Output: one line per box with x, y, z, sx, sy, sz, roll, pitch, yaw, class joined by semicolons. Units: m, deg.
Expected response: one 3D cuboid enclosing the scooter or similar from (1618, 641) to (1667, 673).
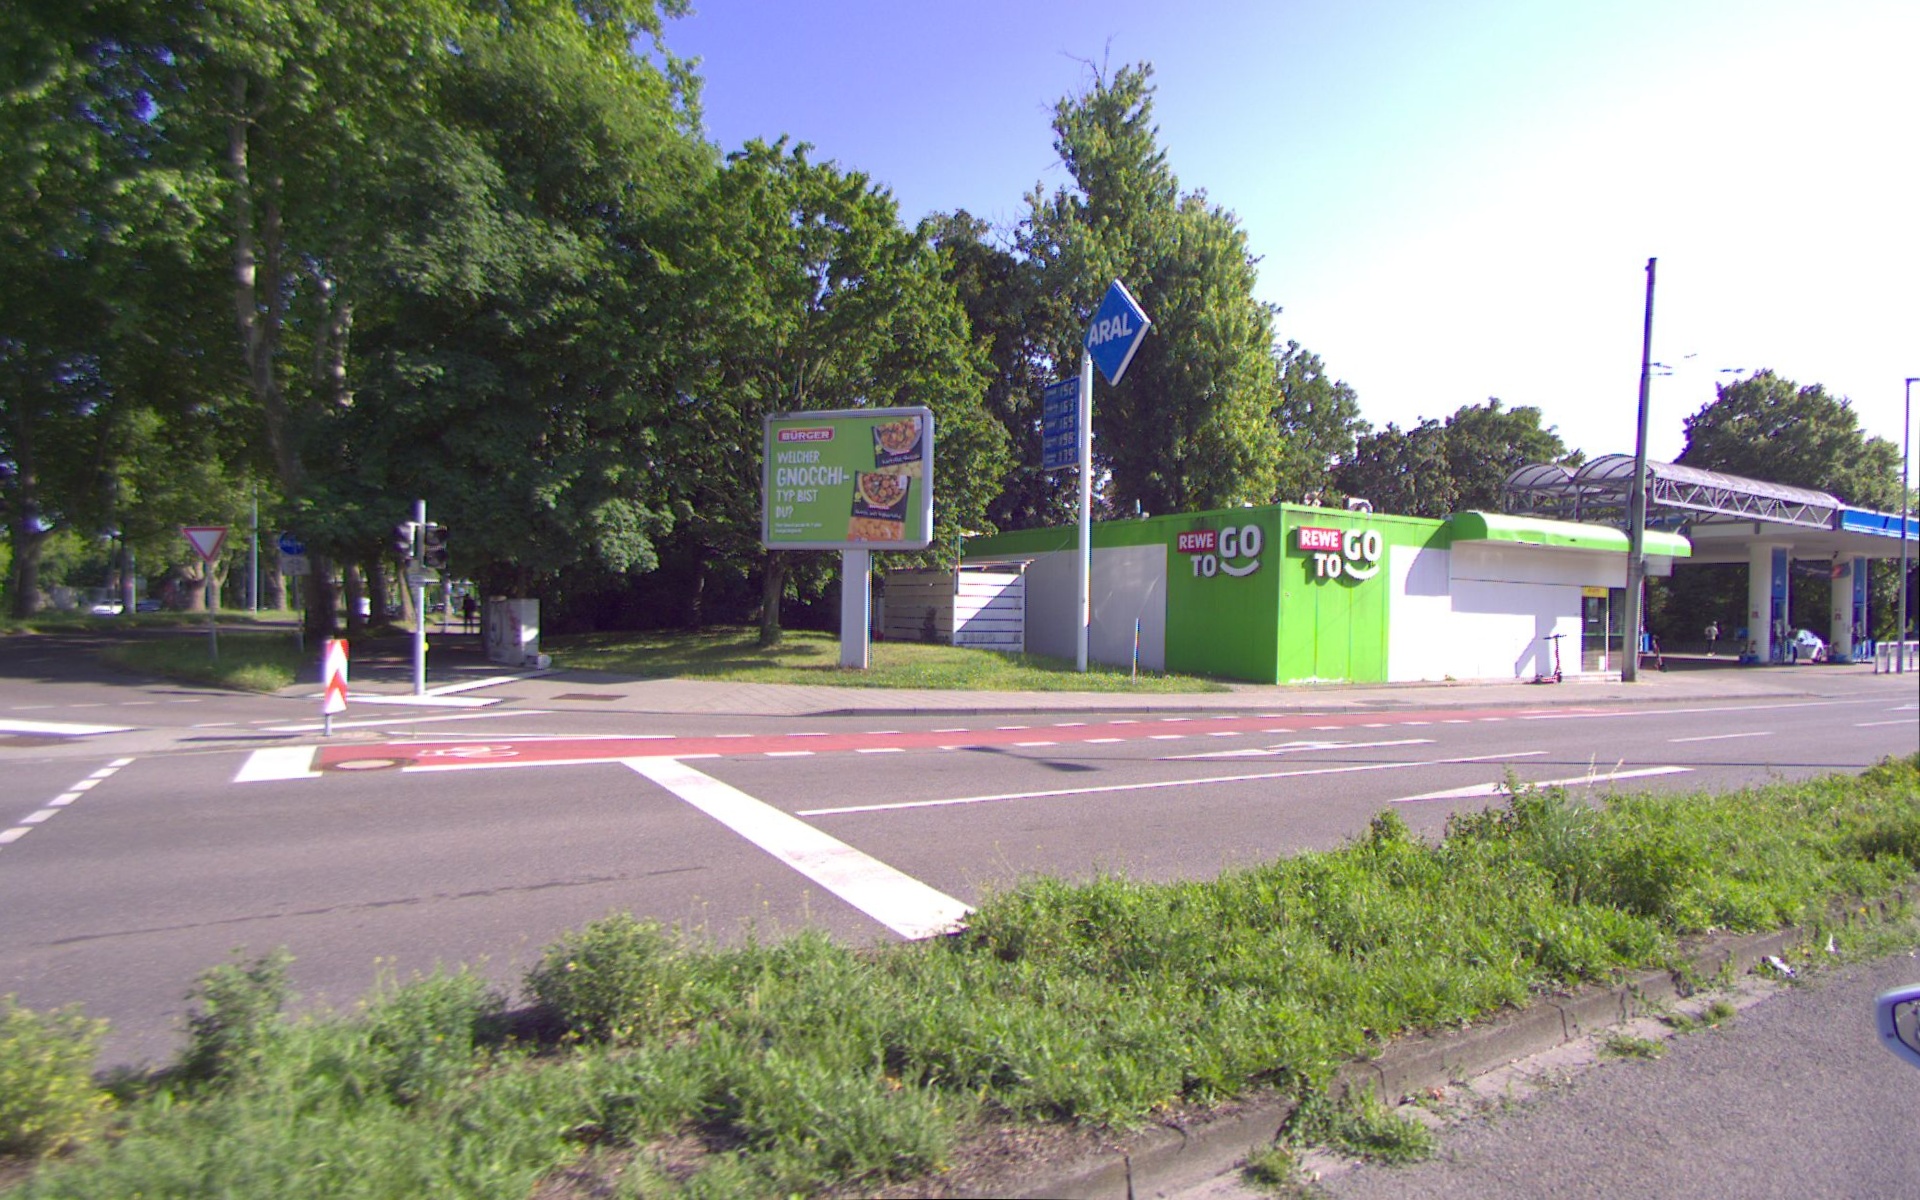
22.533;1.881;33.183;0.493;1.000;1.254;1;-1;-30;scooter or similar

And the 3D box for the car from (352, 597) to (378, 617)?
-62.723;0.728;105.854;1.798;1.989;4.376;2;-1;-24;car

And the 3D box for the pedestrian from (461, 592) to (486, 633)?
-21.552;0.559;44.524;0.863;1.793;0.685;1;0;-18;pedestrian

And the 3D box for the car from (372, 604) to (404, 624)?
-44.598;1.090;78.422;1.798;1.544;3.519;2;-1;-24;car

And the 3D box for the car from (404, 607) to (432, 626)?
-46.126;1.406;85.513;1.798;1.544;3.519;2;-1;-24;car

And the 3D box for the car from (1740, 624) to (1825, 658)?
36.644;1.810;44.721;4.075;1.412;1.734;1;-1;-32;car

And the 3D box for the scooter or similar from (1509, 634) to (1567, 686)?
14.164;1.465;24.602;1.293;1.190;0.530;1;4;-28;scooter or similar

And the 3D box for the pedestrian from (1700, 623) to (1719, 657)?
39.892;2.130;53.476;0.844;1.751;0.655;1;-1;-43;pedestrian
